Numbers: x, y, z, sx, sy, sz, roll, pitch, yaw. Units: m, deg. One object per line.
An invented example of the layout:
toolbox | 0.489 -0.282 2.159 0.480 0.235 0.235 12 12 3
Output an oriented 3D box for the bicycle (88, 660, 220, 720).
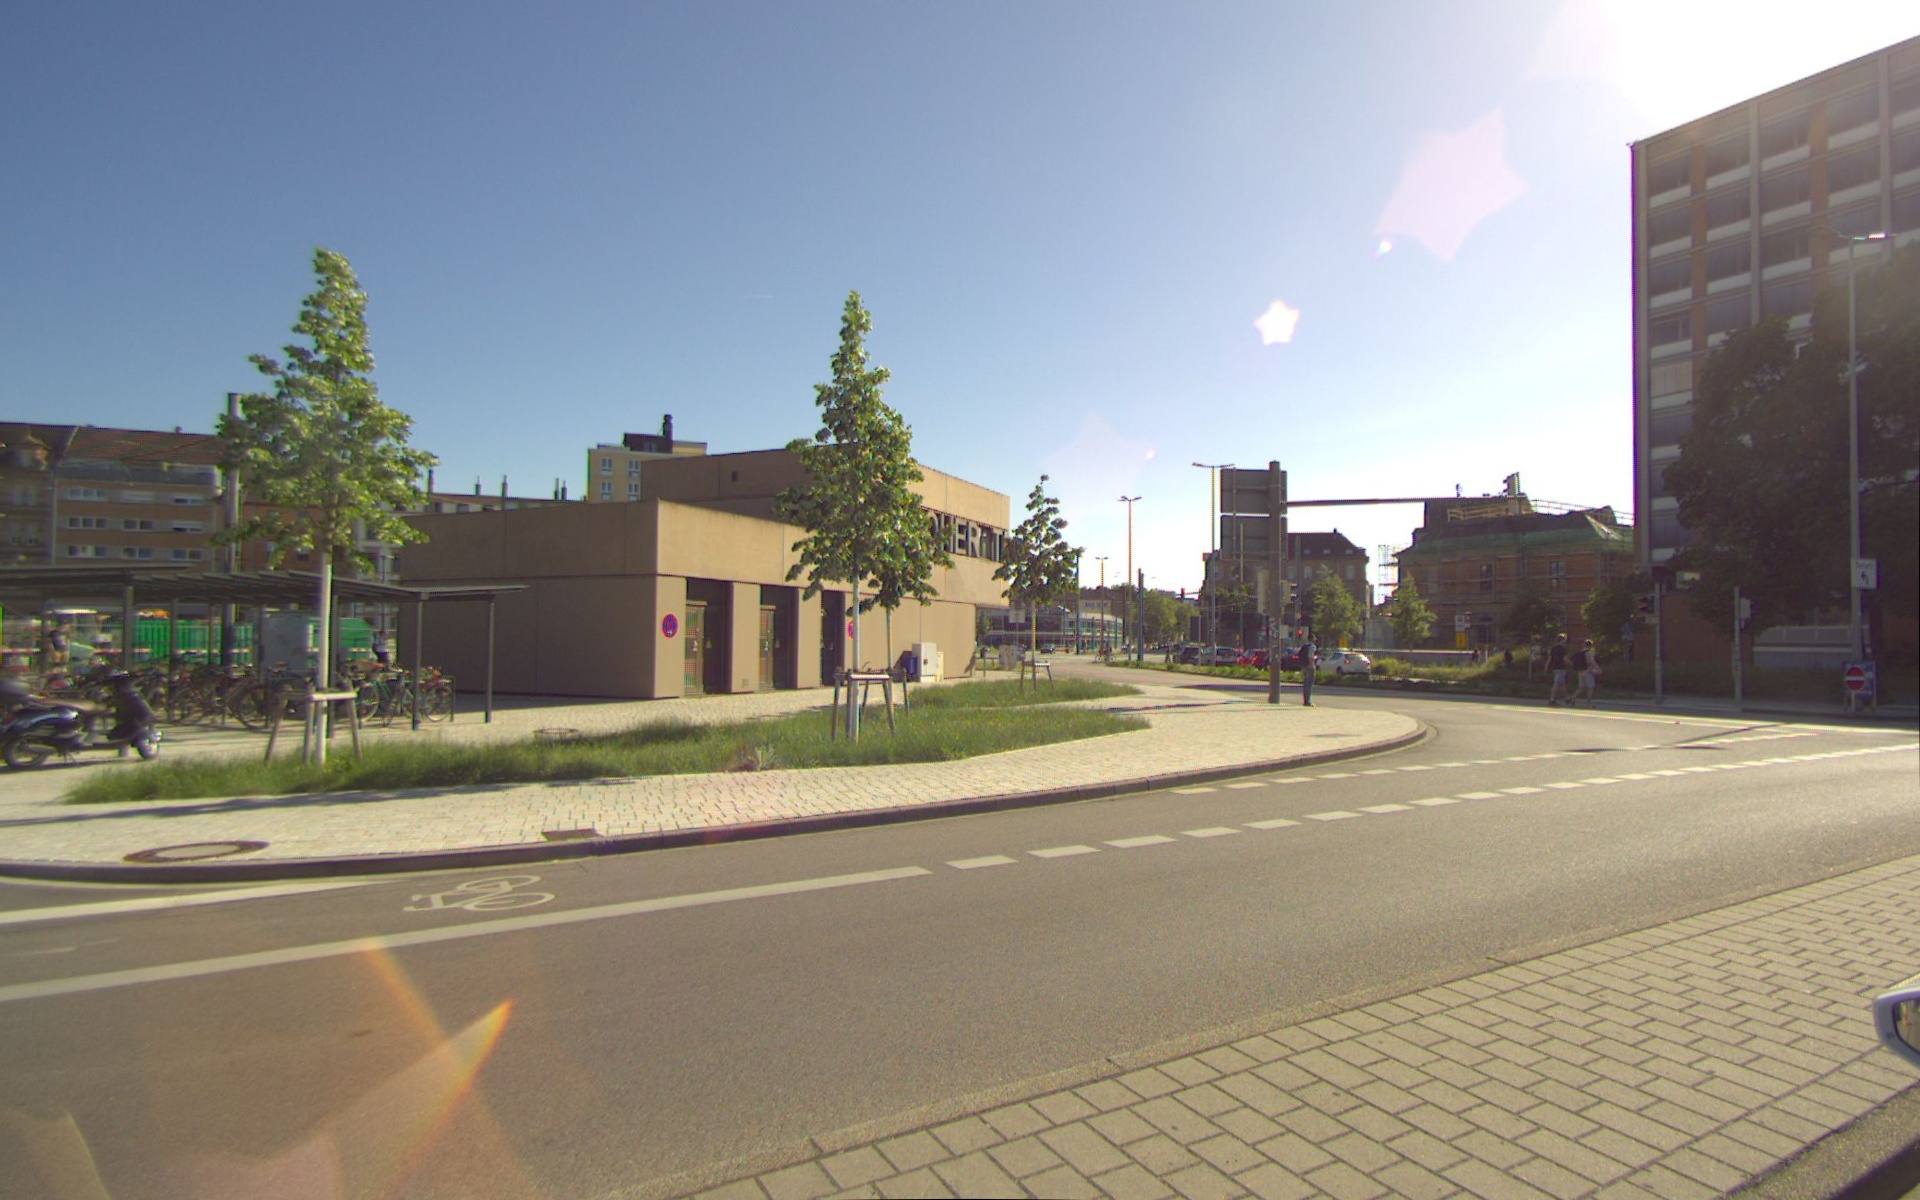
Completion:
bicycle | -15.086 1.656 18.864 0.449 1.022 1.902 0 -2 26

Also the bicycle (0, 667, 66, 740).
bicycle | -14.164 1.508 14.445 0.449 1.022 1.902 0 -2 26

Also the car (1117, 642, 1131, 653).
car | 31.157 9.000 191.016 1.961 2.040 4.000 0 -2 20

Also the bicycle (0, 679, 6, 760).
bicycle | -12.750 1.485 12.002 0.449 1.022 1.902 0 -2 26

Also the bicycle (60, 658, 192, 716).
bicycle | -15.922 1.644 19.239 0.449 1.022 1.902 0 -2 26

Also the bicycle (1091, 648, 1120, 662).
bicycle | 12.271 4.674 84.846 2.370 1.076 0.811 2 0 7

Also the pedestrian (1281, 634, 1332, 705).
pedestrian | 8.700 1.739 25.252 1.044 1.753 0.652 1 -2 -16

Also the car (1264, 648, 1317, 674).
car | 20.579 3.765 62.737 1.760 1.528 3.880 1 -2 -6

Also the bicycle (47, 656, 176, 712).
bicycle | -16.705 1.639 19.837 0.449 1.022 1.902 0 -2 26

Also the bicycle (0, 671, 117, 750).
bicycle | -13.034 1.537 14.014 0.449 1.022 1.902 0 -2 26

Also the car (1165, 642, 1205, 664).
car | 16.775 3.929 74.997 1.760 1.528 3.880 1 -2 -6

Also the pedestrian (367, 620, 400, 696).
pedestrian | -15.780 1.571 27.508 0.710 2.040 0.682 1 -2 -30

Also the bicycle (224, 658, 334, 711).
bicycle | -14.078 1.728 20.828 0.449 1.022 1.902 0 -2 26

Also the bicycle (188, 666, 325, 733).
bicycle | -11.894 1.652 17.058 0.449 1.022 1.902 0 -2 26

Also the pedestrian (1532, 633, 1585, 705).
pedestrian | 15.937 1.824 26.773 0.895 1.887 0.813 1 -2 -16

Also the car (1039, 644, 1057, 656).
car | 12.253 6.951 140.241 1.709 1.672 4.002 0 -2 17

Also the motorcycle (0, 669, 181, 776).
motorcycle | -10.925 1.476 12.469 0.508 1.166 1.947 0 -2 25

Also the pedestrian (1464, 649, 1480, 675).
pedestrian | 33.923 4.102 66.592 0.752 1.753 0.677 2 -2 -32

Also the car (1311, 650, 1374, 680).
car | 21.247 3.593 55.933 1.760 1.528 3.880 1 -2 -6

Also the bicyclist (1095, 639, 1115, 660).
bicyclist | 12.243 4.166 84.834 1.544 1.655 0.811 2 0 7

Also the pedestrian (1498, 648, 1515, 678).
pedestrian | 33.128 3.818 60.878 0.754 1.753 0.675 2 -2 -39

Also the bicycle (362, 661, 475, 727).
bicycle | -9.932 1.697 18.489 0.449 1.112 1.902 0 -2 26

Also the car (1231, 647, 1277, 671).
car | 20.207 4.031 69.223 1.760 1.528 3.880 1 -2 -6

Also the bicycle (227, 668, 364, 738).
bicycle | -10.915 1.663 16.569 0.449 1.022 1.902 0 -2 26

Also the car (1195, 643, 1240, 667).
car | 17.456 3.693 68.270 1.760 1.528 3.880 1 -2 -6

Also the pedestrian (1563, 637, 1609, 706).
pedestrian | 16.109 1.829 25.869 0.748 1.753 0.680 1 -2 -16

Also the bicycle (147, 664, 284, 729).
bicycle | -12.904 1.649 17.488 0.449 1.022 1.902 0 -2 26

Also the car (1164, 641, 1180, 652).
car | 39.025 8.612 185.075 1.760 2.040 3.993 0 -2 29

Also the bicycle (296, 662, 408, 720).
bicycle | -11.802 1.743 19.576 0.449 1.022 1.902 0 -2 26

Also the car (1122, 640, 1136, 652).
car | 34.017 9.245 202.258 1.961 2.040 3.998 2 0 23

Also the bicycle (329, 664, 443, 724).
bicycle | -10.712 1.734 18.818 0.449 1.022 1.902 0 -2 26

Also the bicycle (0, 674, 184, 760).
bicycle | -11.820 1.556 13.722 0.449 1.022 1.902 0 -2 26
